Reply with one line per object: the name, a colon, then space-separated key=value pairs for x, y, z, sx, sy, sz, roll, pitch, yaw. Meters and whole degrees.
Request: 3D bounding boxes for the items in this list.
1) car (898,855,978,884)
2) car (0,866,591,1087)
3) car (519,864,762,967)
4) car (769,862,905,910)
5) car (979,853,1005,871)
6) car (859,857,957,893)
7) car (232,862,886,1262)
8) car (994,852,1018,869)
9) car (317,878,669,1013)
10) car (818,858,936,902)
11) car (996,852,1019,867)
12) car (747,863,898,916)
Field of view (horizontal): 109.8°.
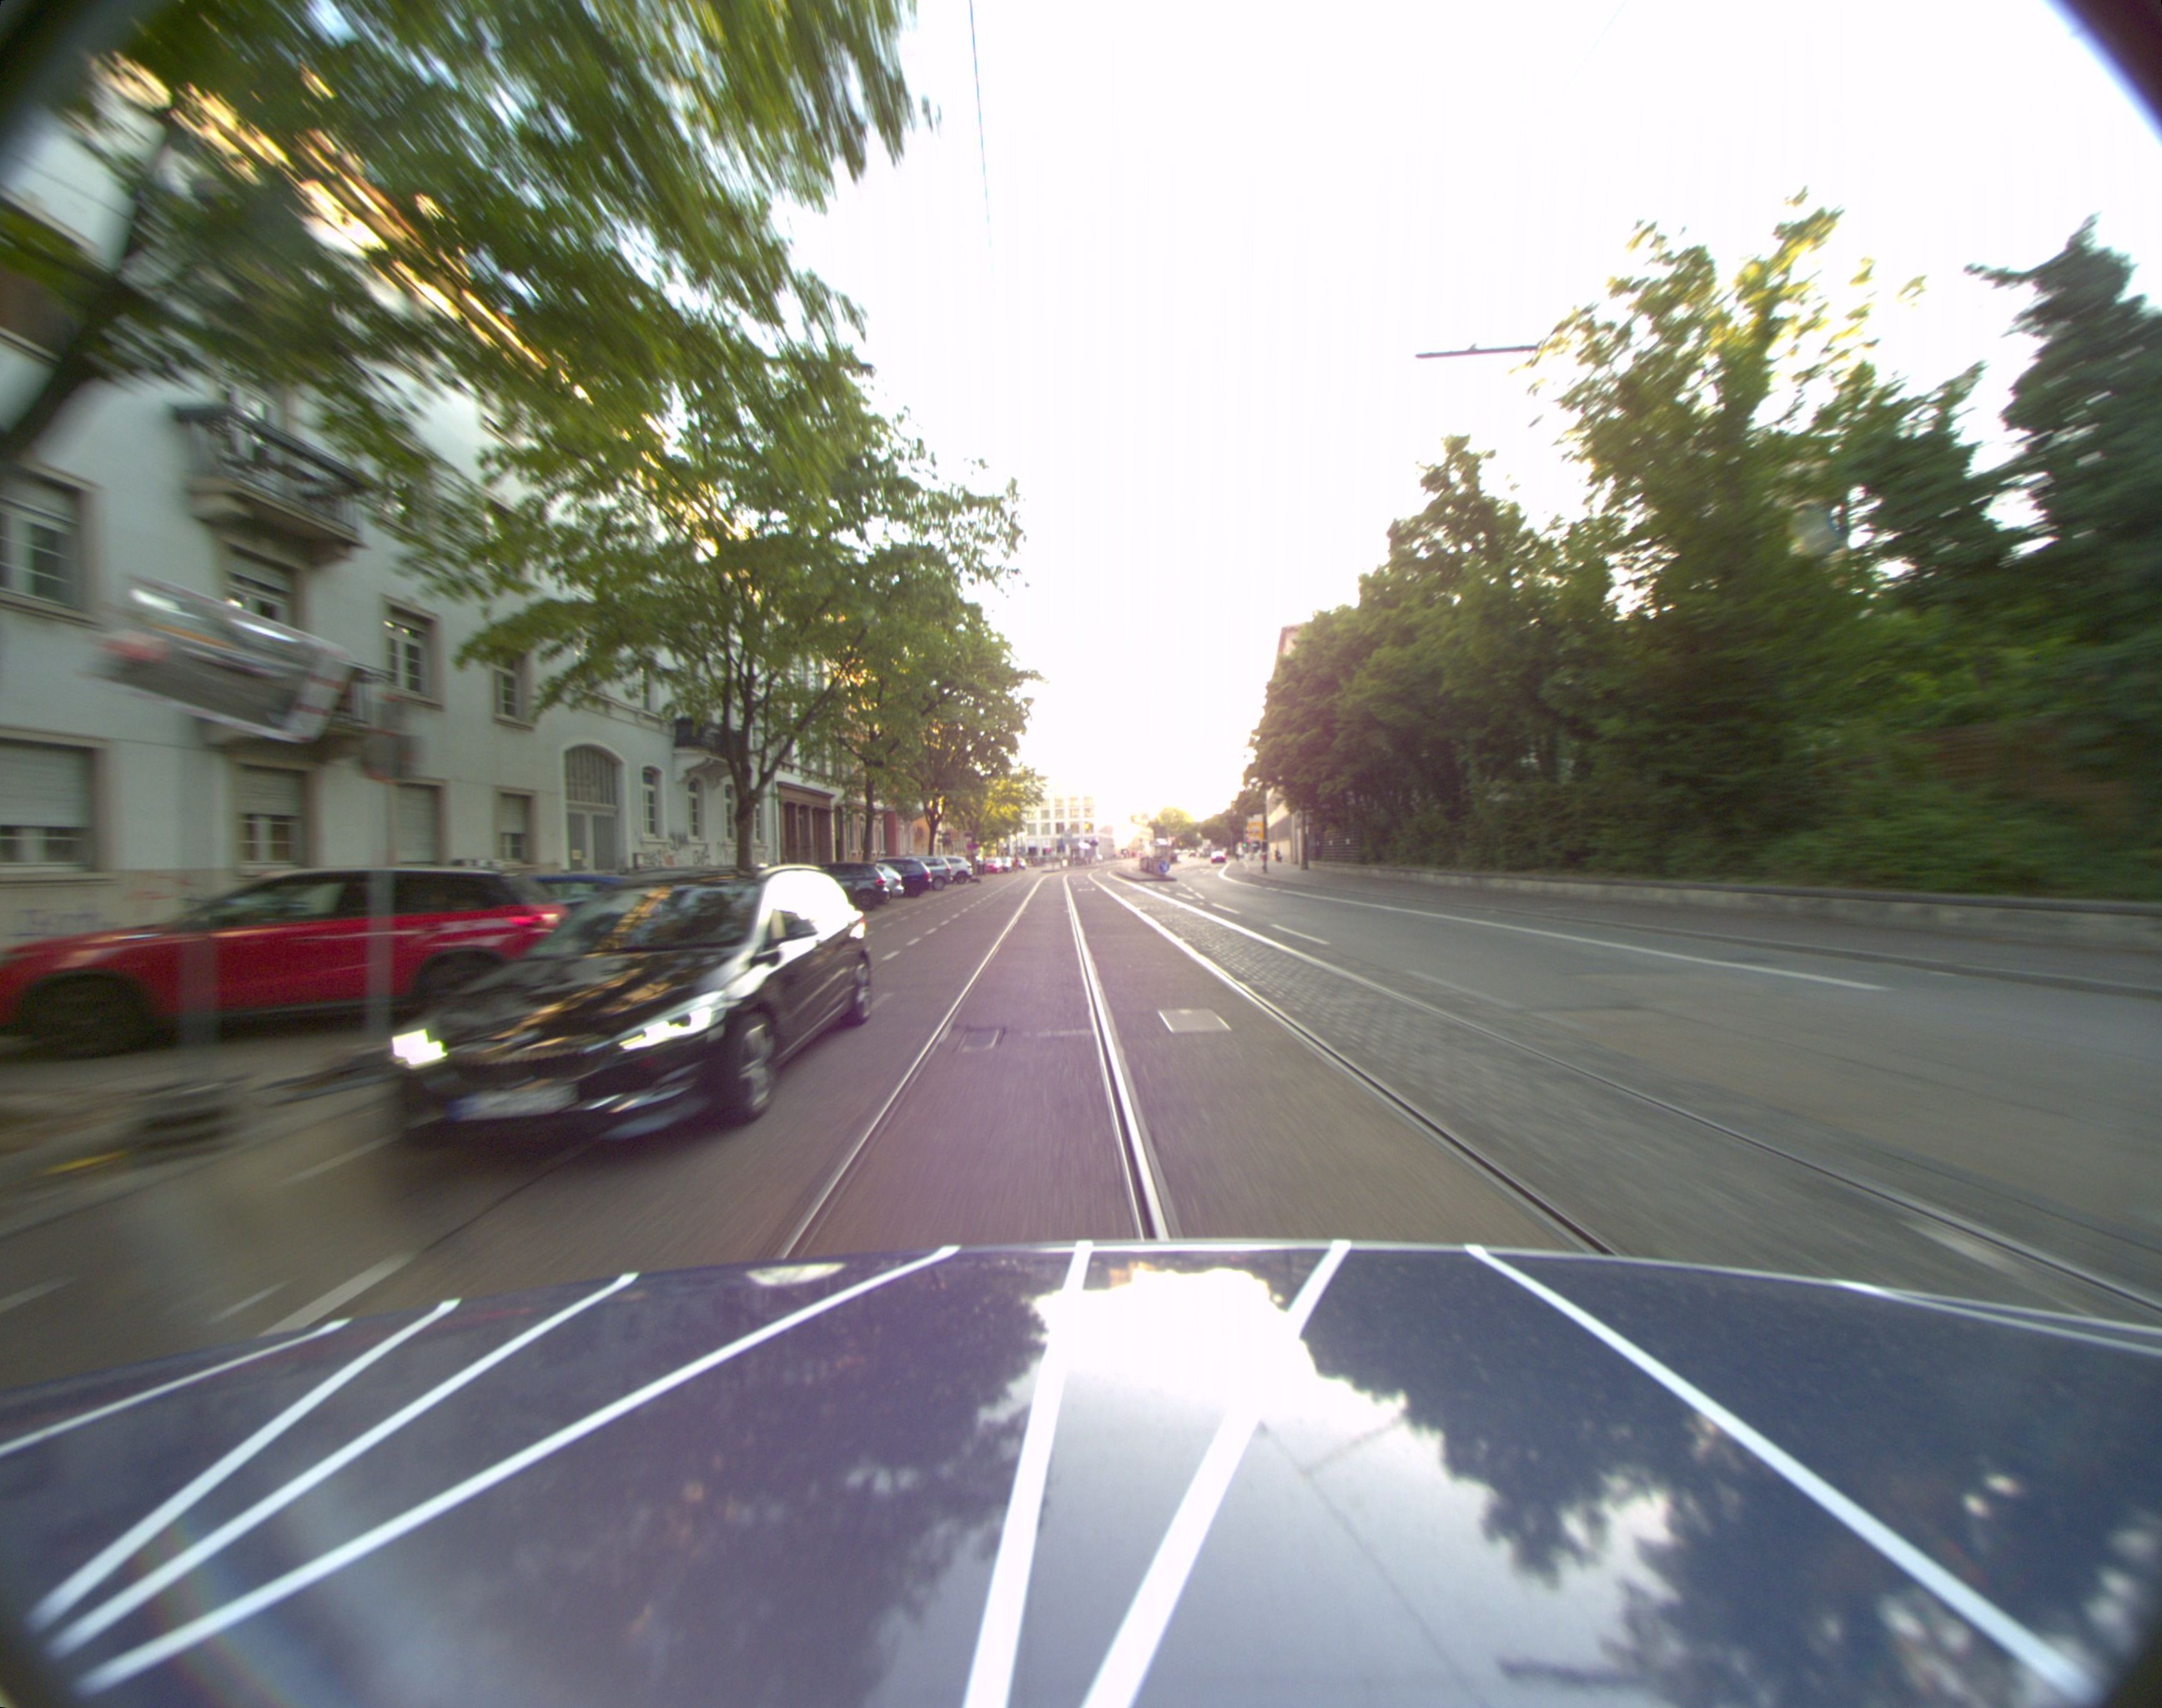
car: x=-8.328 y=0.868 z=44.255 sx=4.218 sy=1.600 sz=1.739 roll=0 pitch=0 yaw=-30
car: x=-7.471 y=1.001 z=7.612 sx=4.125 sy=1.631 sz=1.740 roll=-2 pitch=0 yaw=-28
car: x=-7.790 y=1.013 z=13.683 sx=3.580 sy=1.536 sz=1.381 roll=-2 pitch=0 yaw=-30
car: x=-8.159 y=1.017 z=25.624 sx=4.215 sy=1.494 sz=1.741 roll=0 pitch=0 yaw=-18
car: x=-8.241 y=0.728 z=70.909 sx=1.742 sy=1.600 sz=3.822 roll=-2 pitch=0 yaw=3
car: x=-8.216 y=0.947 z=36.172 sx=4.218 sy=1.600 sz=1.739 roll=0 pitch=0 yaw=-30
car: x=-2.914 y=0.972 z=5.570 sx=1.840 sy=1.631 sz=4.168 roll=-5 pitch=0 yaw=-1
car: x=-7.579 y=0.602 z=76.913 sx=1.742 sy=1.600 sz=3.822 roll=-2 pitch=0 yaw=3
car: x=-7.865 y=1.116 z=10.512 sx=3.581 sy=1.401 sz=1.517 roll=-2 pitch=0 yaw=-36
car: x=-8.050 y=0.981 z=30.056 sx=4.218 sy=1.600 sz=1.699 roll=0 pitch=0 yaw=-30
car: x=-8.563 y=0.568 z=88.377 sx=1.953 sy=1.600 sz=4.272 roll=-2 pitch=0 yaw=3
car: x=-7.875 y=1.049 z=23.364 sx=4.215 sy=1.494 sz=1.741 roll=0 pitch=0 yaw=-18
